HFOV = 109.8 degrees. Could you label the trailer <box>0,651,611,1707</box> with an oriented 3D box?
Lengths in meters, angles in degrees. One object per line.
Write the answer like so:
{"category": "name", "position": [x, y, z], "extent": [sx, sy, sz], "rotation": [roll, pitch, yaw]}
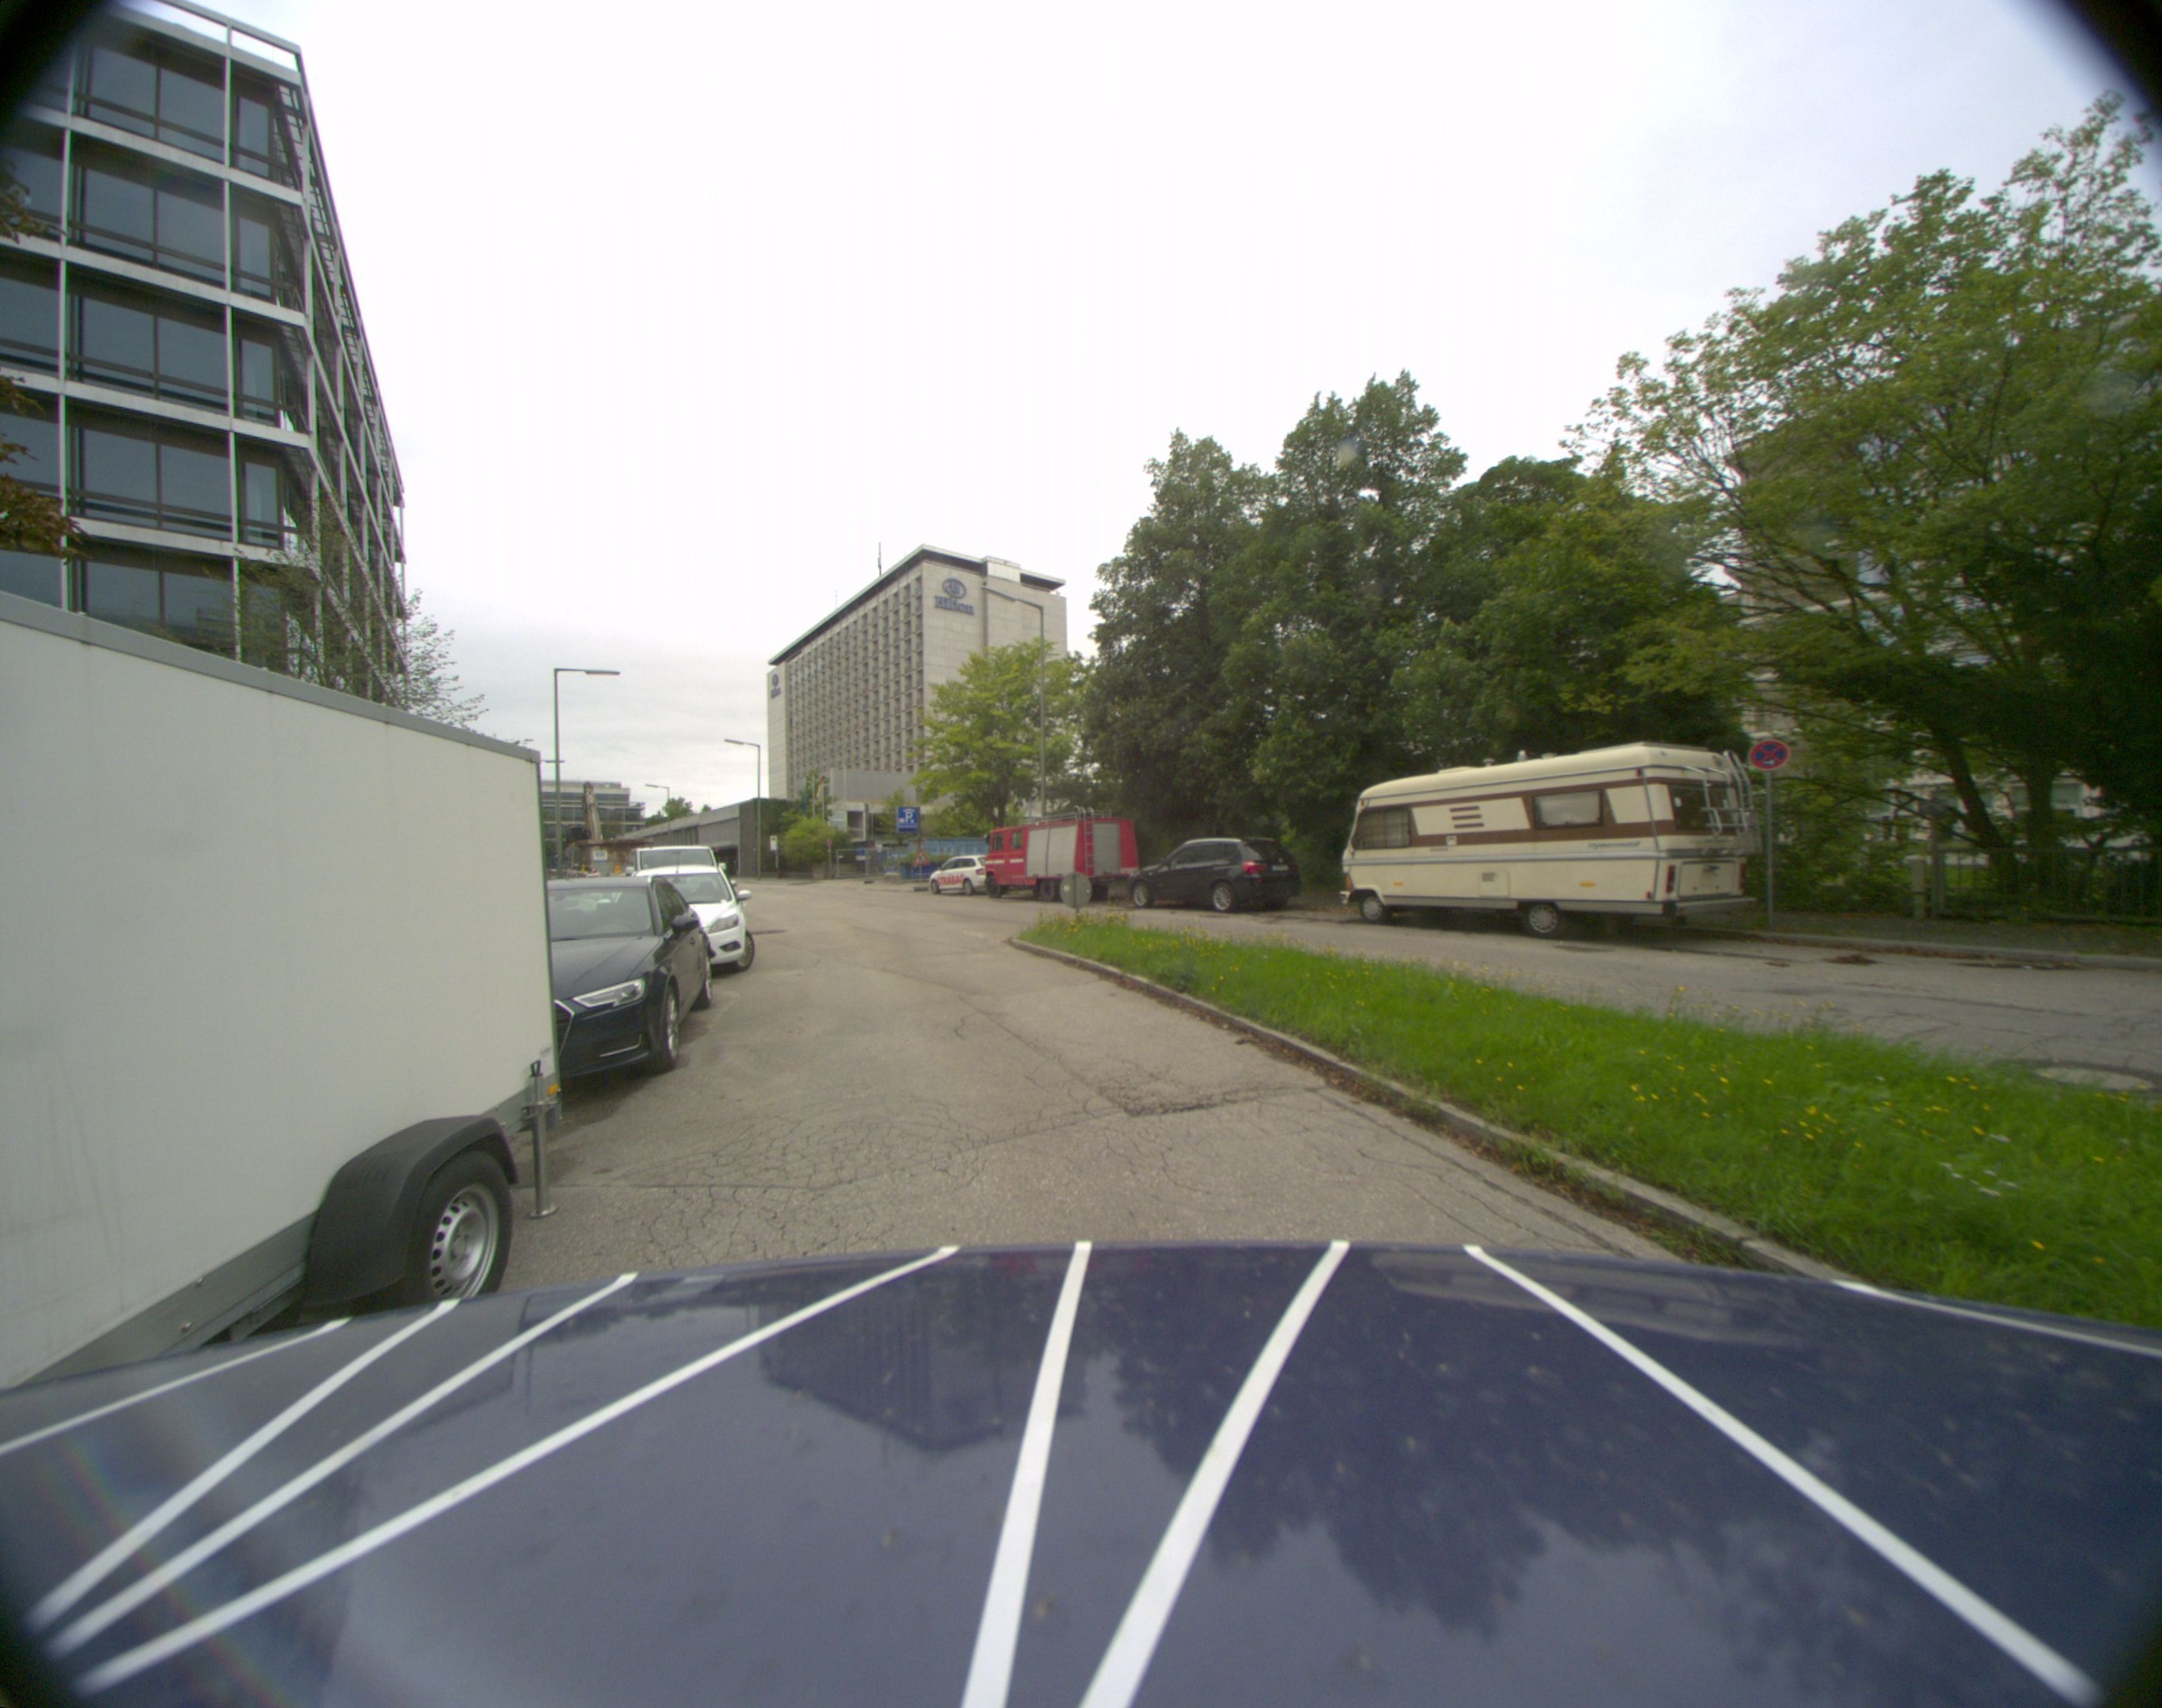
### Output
{"category": "trailer", "position": [-2.723, 0.668, 1.030], "extent": [1.815, 2.002, 4.829], "rotation": [-1, 1, -10]}

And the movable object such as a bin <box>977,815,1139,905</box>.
{"category": "movable object such as a bin", "position": [-0.933, 0.170, 23.846], "extent": [2.114, 2.444, 6.171], "rotation": [-1, 0, -33]}

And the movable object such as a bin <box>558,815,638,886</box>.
{"category": "movable object such as a bin", "position": [-28.392, -0.203, 44.464], "extent": [3.257, 3.695, 8.983], "rotation": [-2, 1, -36]}

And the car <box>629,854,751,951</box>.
{"category": "car", "position": [-8.458, 0.880, 16.243], "extent": [2.003, 1.718, 4.439], "rotation": [-2, 1, -31]}

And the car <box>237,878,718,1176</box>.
{"category": "car", "position": [-4.267, 0.978, 6.313], "extent": [1.880, 1.428, 4.321], "rotation": [0, 0, -21]}

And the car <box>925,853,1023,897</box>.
{"category": "car", "position": [-4.227, 0.766, 29.458], "extent": [1.785, 1.540, 4.245], "rotation": [-2, 0, -39]}

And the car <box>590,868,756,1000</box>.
{"category": "car", "position": [-5.887, 0.992, 11.318], "extent": [1.774, 1.477, 4.212], "rotation": [-1, 0, -25]}

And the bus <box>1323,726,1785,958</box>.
{"category": "bus", "position": [6.770, -0.137, 11.851], "extent": [2.326, 2.683, 5.721], "rotation": [-1, 0, -27]}

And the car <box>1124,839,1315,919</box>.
{"category": "car", "position": [3.124, 0.525, 18.043], "extent": [1.785, 1.640, 4.448], "rotation": [-1, 0, -35]}

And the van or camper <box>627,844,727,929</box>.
{"category": "van or camper", "position": [-11.232, 0.775, 20.894], "extent": [2.003, 2.002, 5.363], "rotation": [-2, 1, -32]}
